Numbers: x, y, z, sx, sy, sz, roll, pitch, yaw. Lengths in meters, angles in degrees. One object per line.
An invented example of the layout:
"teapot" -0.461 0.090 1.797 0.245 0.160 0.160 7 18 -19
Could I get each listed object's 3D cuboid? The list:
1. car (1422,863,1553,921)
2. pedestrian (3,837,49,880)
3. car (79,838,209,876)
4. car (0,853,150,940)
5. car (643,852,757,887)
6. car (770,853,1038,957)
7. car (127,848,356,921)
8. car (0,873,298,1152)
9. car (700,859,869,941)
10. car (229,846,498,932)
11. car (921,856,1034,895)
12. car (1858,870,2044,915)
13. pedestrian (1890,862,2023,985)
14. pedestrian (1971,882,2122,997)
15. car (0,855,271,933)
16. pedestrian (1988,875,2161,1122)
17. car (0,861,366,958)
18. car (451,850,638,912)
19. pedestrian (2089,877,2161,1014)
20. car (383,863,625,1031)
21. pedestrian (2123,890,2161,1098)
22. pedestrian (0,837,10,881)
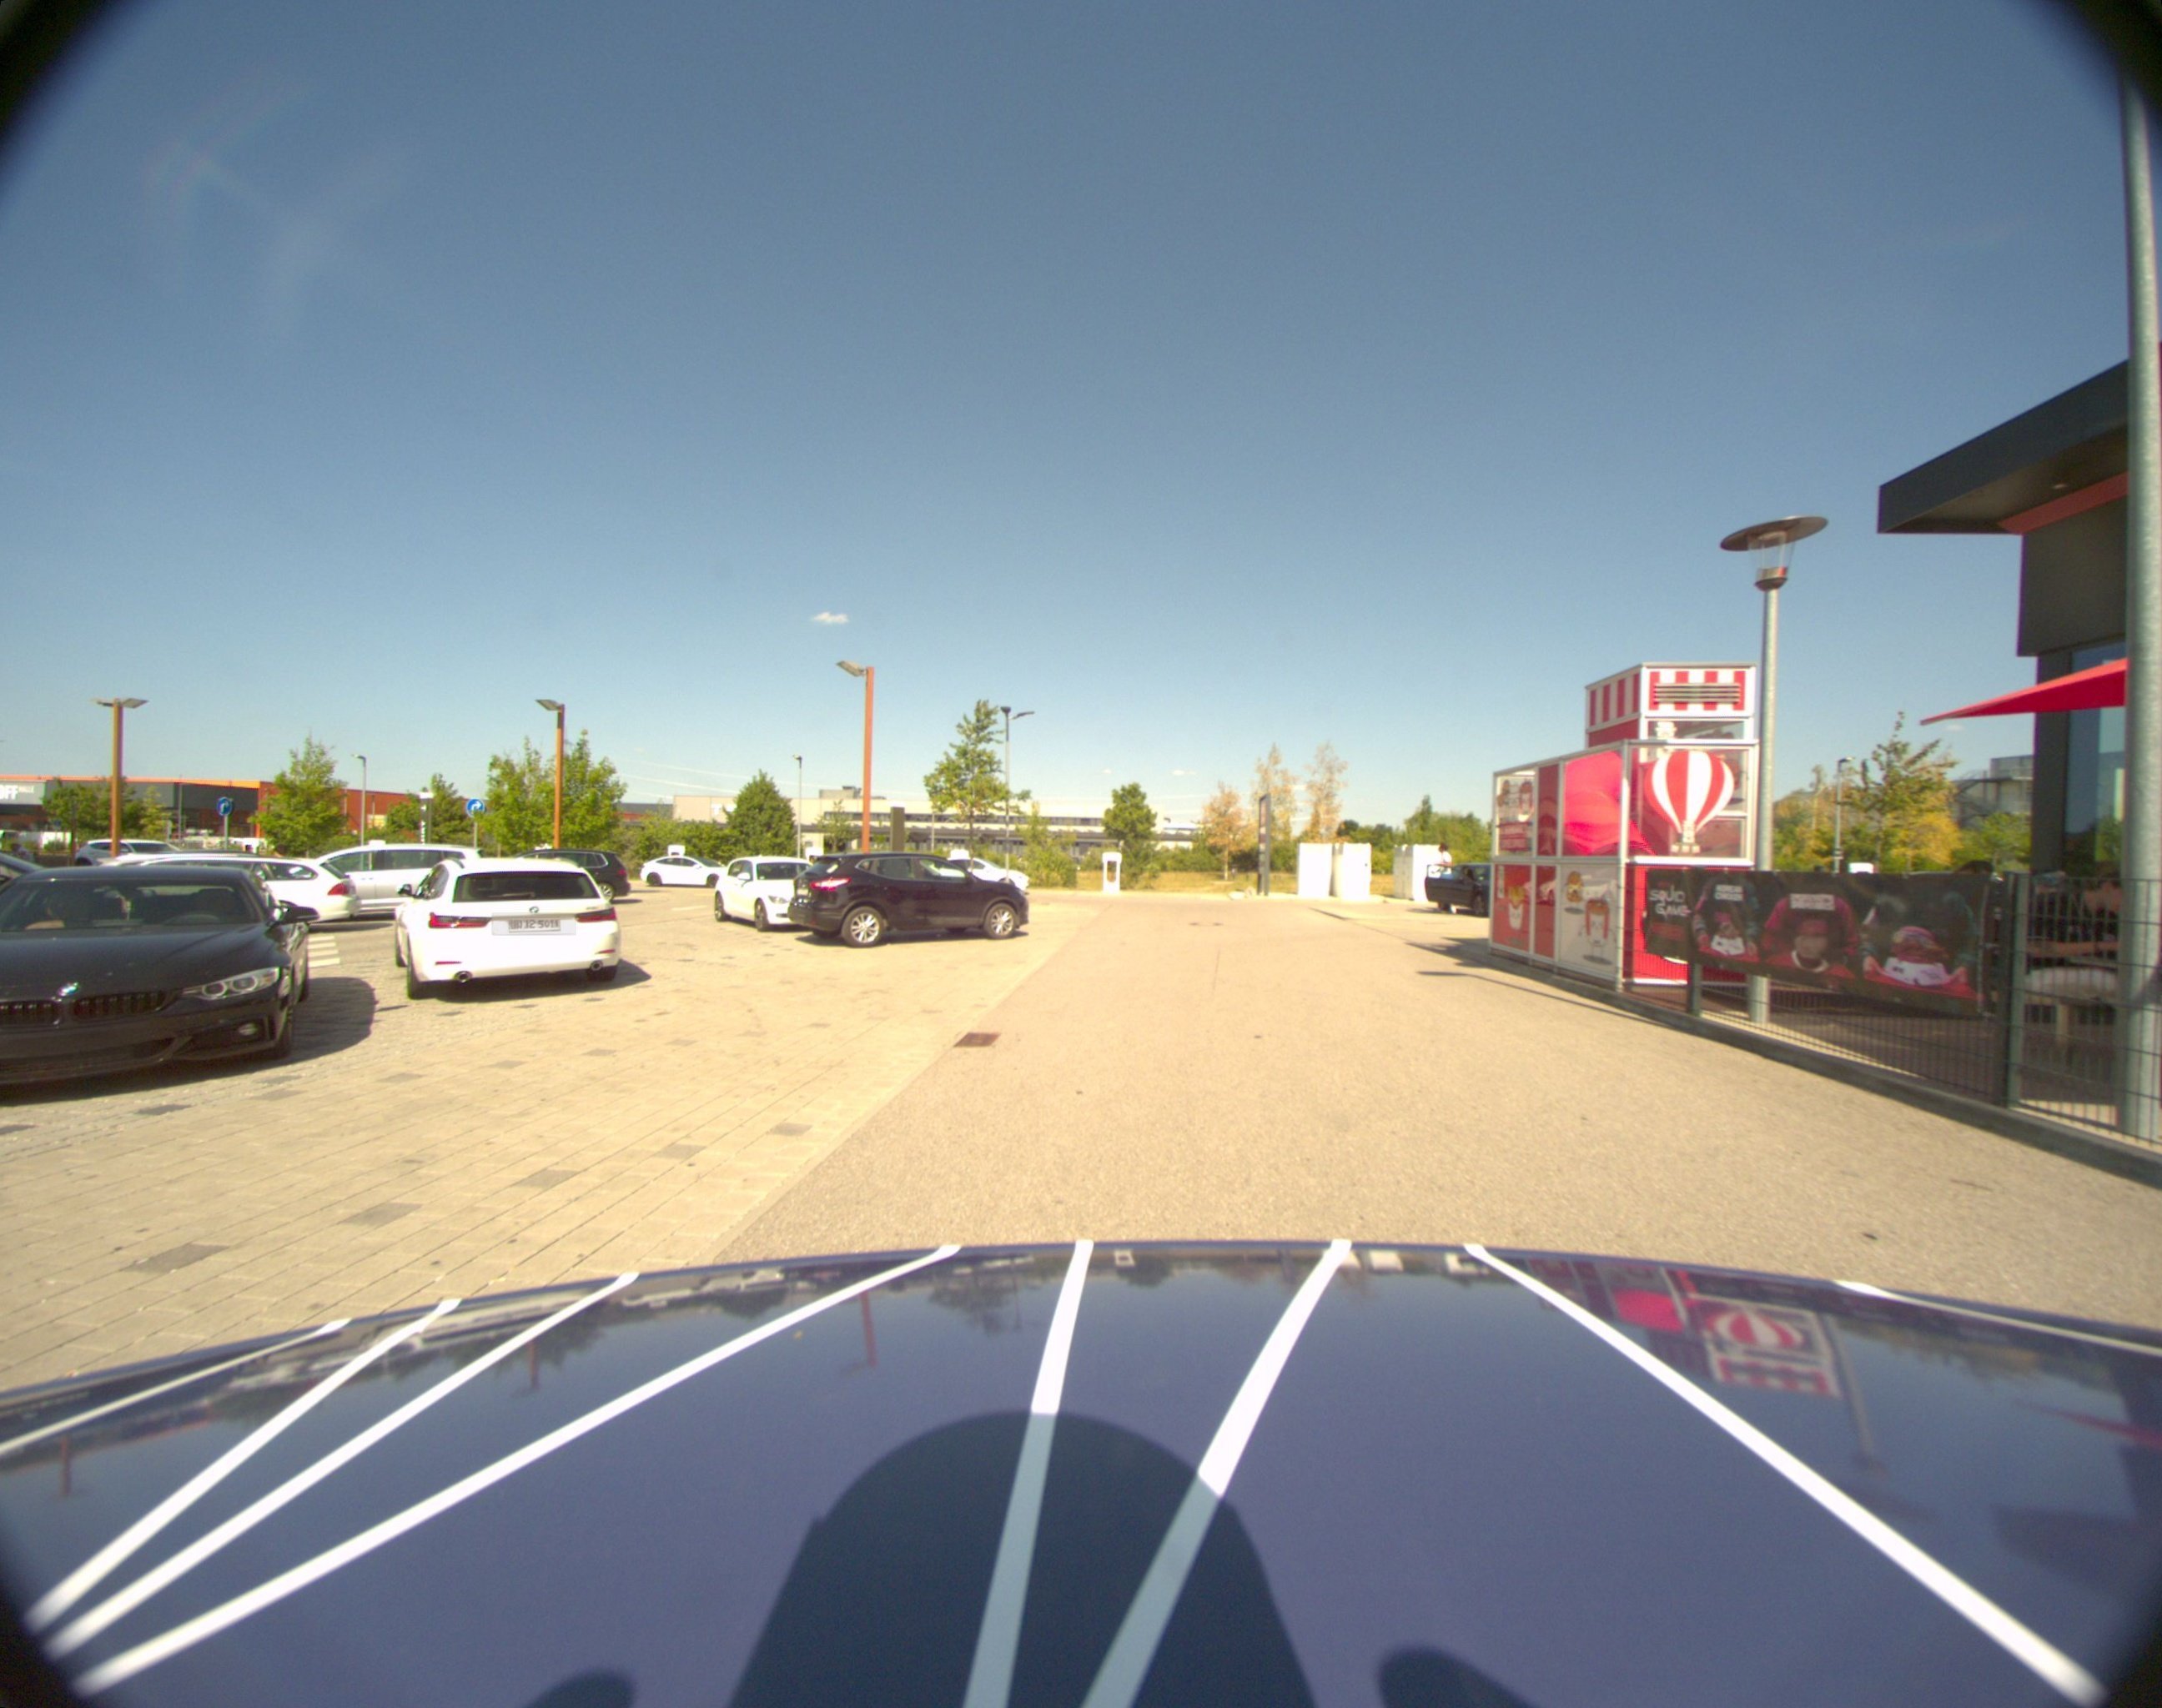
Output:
"car" 11.398 1.008 21.673 1.727 1.403 4.316 1 0 5
"pedestrian" -38.607 0.157 27.815 0.721 1.550 0.702 1 1 6
"car" -39.774 0.125 32.291 3.877 1.552 1.765 0 0 9
"car" -20.047 0.729 13.154 4.654 1.478 1.890 0 1 -38
"car" -17.345 0.683 34.650 4.327 1.470 1.843 1 0 7
"car" -3.089 0.817 13.684 4.312 1.581 1.852 1 0 -37
"car" -22.112 0.731 20.245 1.649 1.764 3.967 1 0 44
"car" -7.514 0.935 5.889 1.840 1.451 4.357 0 0 -44
"car" -6.364 0.862 16.069 1.979 1.451 4.195 0 0 -42
"car" -15.402 0.674 16.670 4.123 1.665 1.808 0 1 -38
"car" -4.429 0.923 33.014 4.572 1.583 1.843 1 0 2
"car" 33.792 1.447 29.641 4.427 1.518 2.218 1 2 5
"pedestrian" 10.706 0.822 9.317 0.797 1.435 0.694 0 1 4
"pedestrian" 10.668 0.919 8.424 0.753 1.193 0.695 0 1 7
"car" -20.771 0.784 16.136 4.654 1.478 1.890 0 1 -38
"pedestrian" 6.368 0.833 4.665 0.664 1.379 0.808 0 1 15
"car" -15.387 0.847 13.217 4.123 1.405 1.808 0 1 -38
"car" -14.529 0.670 20.692 4.008 1.543 1.749 0 0 -41
"pedestrian" 10.781 0.892 7.363 0.754 1.305 0.945 0 1 7
"car" -7.104 0.866 9.141 1.840 1.451 4.571 0 0 -43
"pedestrian" 7.075 0.883 4.560 0.664 1.297 0.688 0 1 14
"pedestrian" -38.377 0.161 26.630 0.721 1.550 0.702 1 1 6
